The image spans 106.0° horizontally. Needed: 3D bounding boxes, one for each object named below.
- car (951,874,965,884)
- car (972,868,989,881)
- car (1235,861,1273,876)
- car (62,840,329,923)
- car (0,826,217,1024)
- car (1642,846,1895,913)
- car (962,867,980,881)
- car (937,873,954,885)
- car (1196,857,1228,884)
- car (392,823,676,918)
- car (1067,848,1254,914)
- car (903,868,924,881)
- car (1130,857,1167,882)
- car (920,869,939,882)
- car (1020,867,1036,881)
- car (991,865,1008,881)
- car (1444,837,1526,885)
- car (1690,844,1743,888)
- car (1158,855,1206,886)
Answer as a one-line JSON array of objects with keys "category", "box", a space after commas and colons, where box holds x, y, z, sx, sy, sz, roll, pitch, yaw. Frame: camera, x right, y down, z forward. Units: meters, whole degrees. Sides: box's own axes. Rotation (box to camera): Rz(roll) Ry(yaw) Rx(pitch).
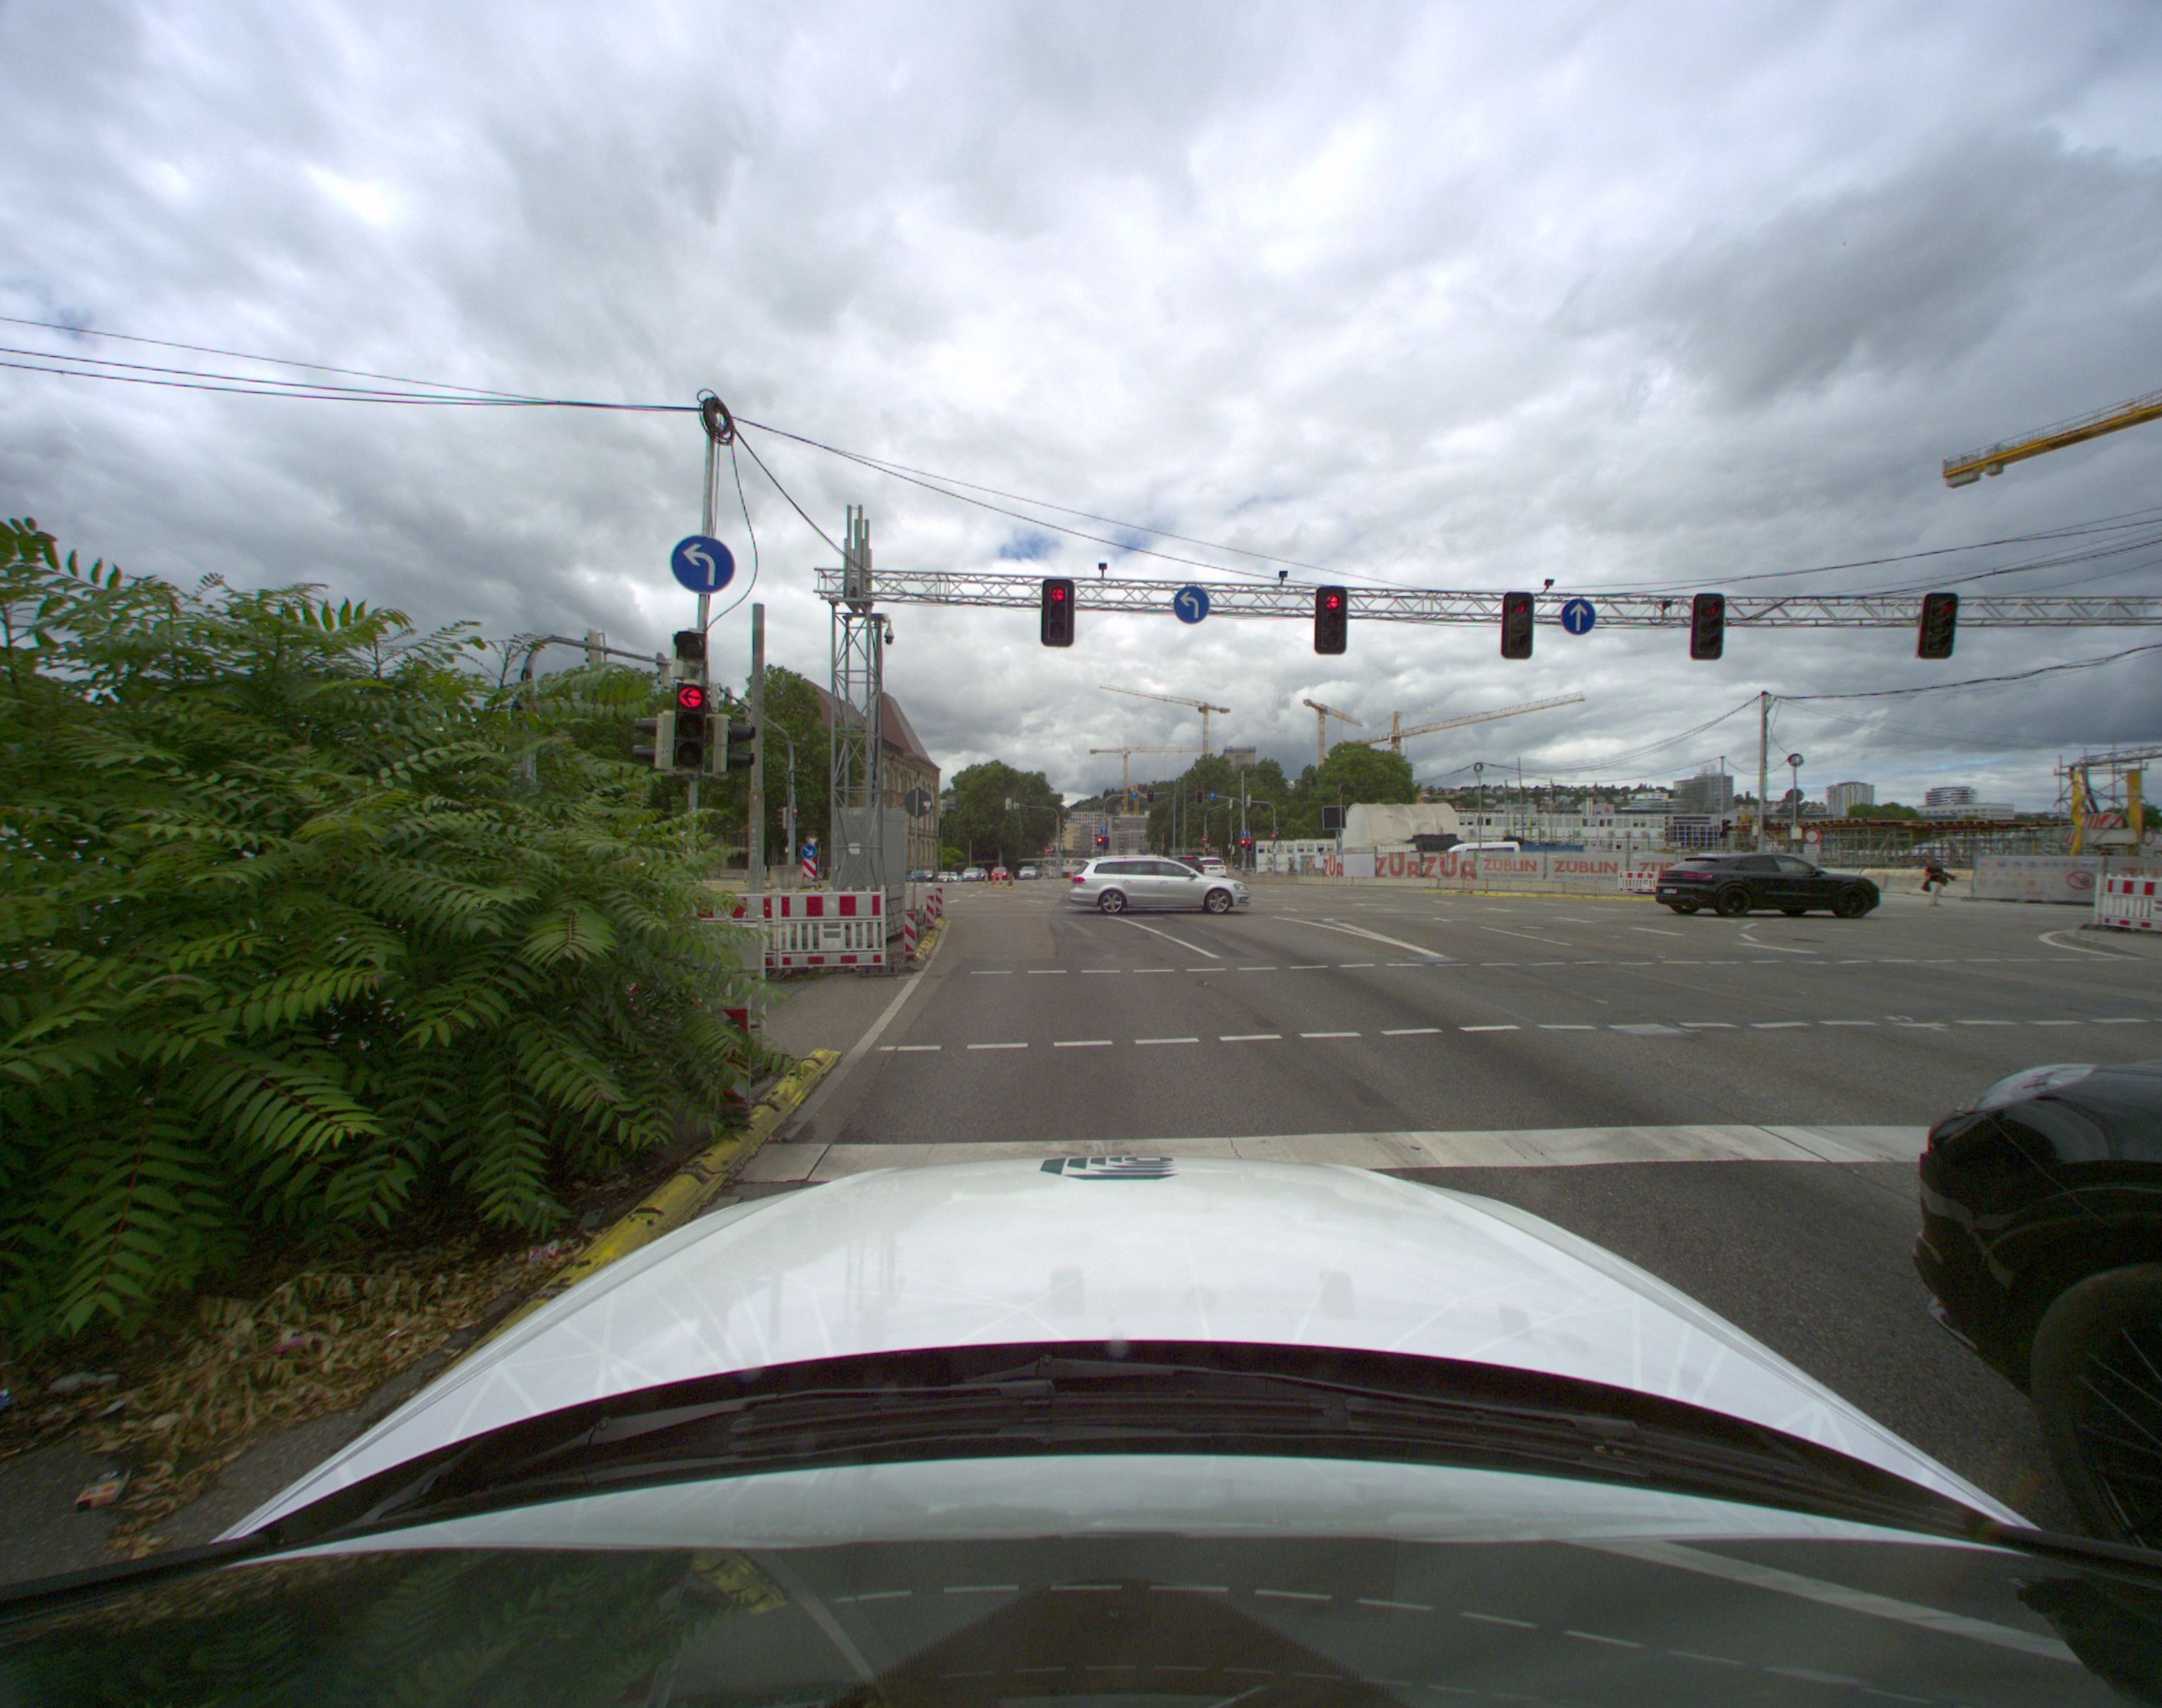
[{"category": "car", "box": [-17.486, 3.549, 116.291, 1.673, 1.398, 3.677, 0, -1, -4]}, {"category": "car", "box": [-11.361, 2.262, 92.234, 1.673, 1.398, 3.677, 0, -1, -4]}, {"category": "car", "box": [18.735, 1.550, 88.331, 3.960, 1.552, 1.788, 0, 0, 12]}, {"category": "car", "box": [-21.399, 0.637, 19.841, 4.259, 1.882, 1.827, 0, -1, -5]}, {"category": "car", "box": [-10.333, 0.584, 7.502, 1.909, 1.625, 4.073, -1, 0, -26]}, {"category": "car", "box": [17.723, 0.641, 21.193, 4.787, 1.625, 2.022, 0, -1, 3]}, {"category": "car", "box": [-11.614, 2.113, 86.076, 1.673, 1.398, 3.677, 0, -1, -4]}, {"category": "car", "box": [-16.948, 3.125, 101.977, 1.673, 1.398, 3.677, 0, -1, -4]}, {"category": "car", "box": [8.481, 1.052, 52.999, 1.670, 1.702, 3.375, 0, -1, 2]}, {"category": "car", "box": [-14.067, 0.396, 21.286, 5.745, 2.305, 2.301, 0, -1, -3]}, {"category": "car", "box": [1.999, 0.681, 21.383, 4.698, 1.625, 1.680, 0, -1, -2]}, {"category": "car", "box": [-17.912, 2.168, 87.242, 1.673, 1.398, 3.677, 0, -1, -4]}, {"category": "car", "box": [4.569, 1.015, 55.577, 1.814, 1.625, 3.992, 0, -1, -5]}, {"category": "car", "box": [-17.394, 2.445, 93.507, 1.673, 1.398, 3.677, 0, -1, -4]}, {"category": "car", "box": [-5.580, 2.063, 85.333, 1.673, 1.398, 3.677, 0, -1, -4]}, {"category": "car", "box": [-8.475, 1.991, 85.092, 1.673, 1.580, 3.677, 0, -1, -4]}, {"category": "car", "box": [23.232, 0.420, 46.970, 3.957, 2.662, 1.688, -1, -1, 15]}, {"category": "car", "box": [30.133, 0.559, 38.696, 1.755, 1.954, 3.146, -1, -1, 34]}, {"category": "car", "box": [5.961, 0.937, 48.492, 1.830, 1.746, 4.244, 0, -1, -8]}]
